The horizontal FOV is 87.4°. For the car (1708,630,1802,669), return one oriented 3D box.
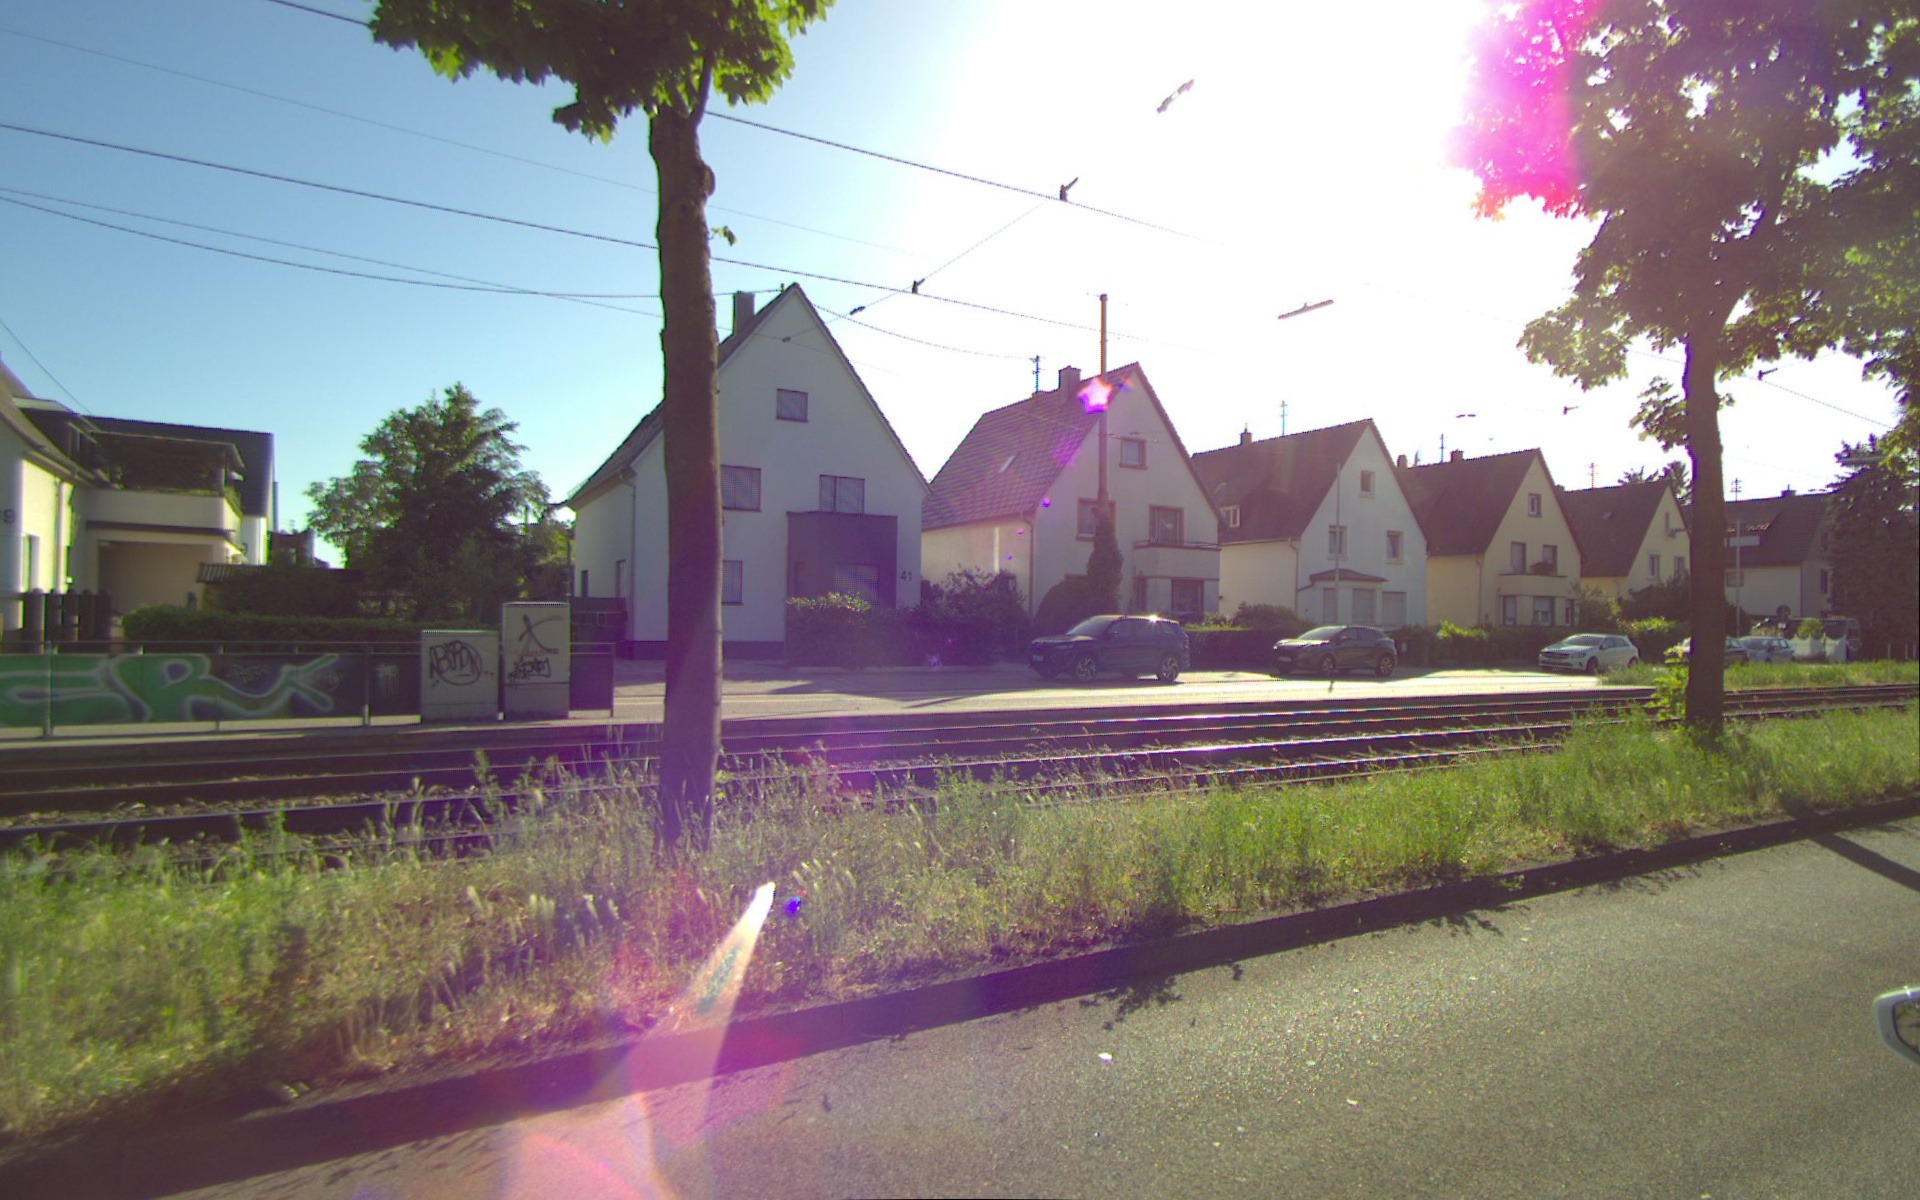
[{"bbox_3d":[35.303,2.203,44.582,4.009,1.574,1.937,2,0,-30],"label":"car"}]

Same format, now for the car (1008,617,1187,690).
[{"bbox_3d":[3.628,1.373,26.355,4.339,1.736,1.984,2,-1,-30],"label":"car"}]

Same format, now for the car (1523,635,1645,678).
[{"bbox_3d":[23.479,2.111,37.772,4.356,1.445,1.985,2,0,-29],"label":"car"}]

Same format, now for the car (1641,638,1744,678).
[{"bbox_3d":[30.686,2.411,42.065,4.079,1.469,1.984,2,2,-30],"label":"car"}]

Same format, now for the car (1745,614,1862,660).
[{"bbox_3d":[50.461,2.158,60.195,2.077,2.660,5.006,1,-1,-29],"label":"car"}]

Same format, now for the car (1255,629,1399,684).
[{"bbox_3d":[11.303,1.709,30.870,4.206,1.515,1.917,2,0,-30],"label":"car"}]
